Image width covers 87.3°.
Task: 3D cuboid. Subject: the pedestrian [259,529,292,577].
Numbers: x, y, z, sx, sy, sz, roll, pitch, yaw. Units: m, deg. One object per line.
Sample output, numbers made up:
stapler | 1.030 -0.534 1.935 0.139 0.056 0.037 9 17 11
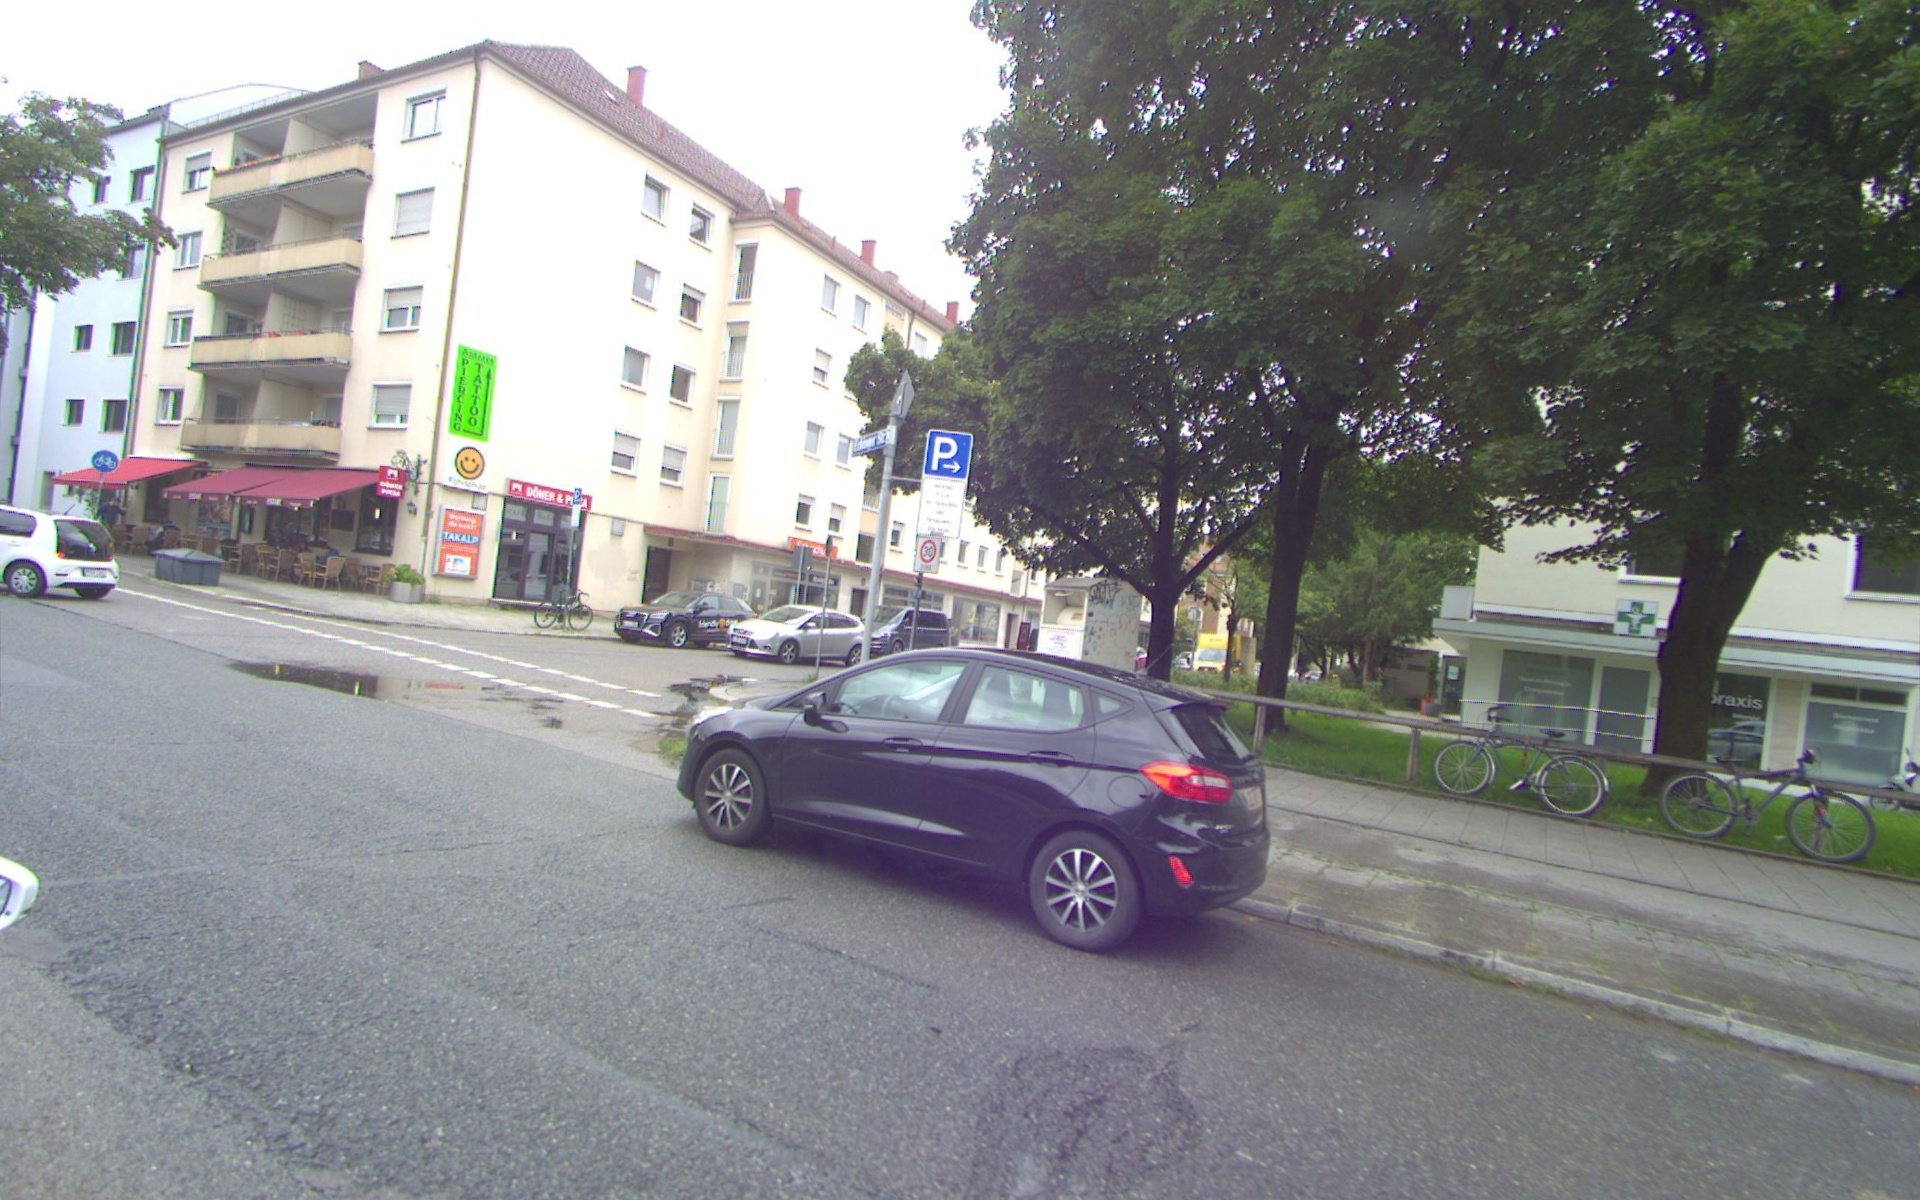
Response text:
pedestrian | -20.891 -1.431 30.712 0.543 1.355 0.539 7 0 30

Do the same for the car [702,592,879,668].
car | -4.227 0.809 25.667 1.968 1.459 4.213 7 -2 34

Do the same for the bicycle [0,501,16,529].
bicycle | -39.584 -3.529 41.308 2.159 1.061 0.621 7 3 32

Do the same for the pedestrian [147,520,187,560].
pedestrian | -26.087 -1.963 33.087 0.636 1.177 0.745 7 0 31

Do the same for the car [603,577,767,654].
car | -7.033 0.442 26.125 1.701 1.537 3.933 7 -1 30

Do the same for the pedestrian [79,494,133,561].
pedestrian | -26.869 -2.277 31.659 0.747 1.952 0.871 7 0 15

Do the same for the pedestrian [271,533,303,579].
pedestrian | -19.993 -1.308 29.888 0.478 1.283 0.539 7 0 30

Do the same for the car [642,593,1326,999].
car | 0.052 0.979 6.379 3.890 1.494 1.647 7 -1 31

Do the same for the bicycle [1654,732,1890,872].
bicycle | 8.224 2.021 10.284 1.738 1.067 0.470 6 -2 31

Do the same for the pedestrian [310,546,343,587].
pedestrian | -17.940 -0.945 28.487 0.479 1.066 0.539 7 0 31

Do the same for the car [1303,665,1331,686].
car | 32.075 6.800 90.371 1.573 1.638 3.764 7 -1 30

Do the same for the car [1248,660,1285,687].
car | 21.928 5.241 71.953 1.573 1.638 3.764 7 -1 30

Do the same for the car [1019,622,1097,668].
car | 4.839 2.222 49.112 2.117 1.806 4.999 7 -1 24

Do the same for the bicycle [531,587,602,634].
bicycle | -9.911 0.272 25.358 0.545 1.023 1.541 7 -1 34

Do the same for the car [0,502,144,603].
car | -16.595 -0.936 17.364 3.375 1.507 1.691 8 -1 -6

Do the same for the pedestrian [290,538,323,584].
pedestrian | -19.085 -1.139 29.390 0.479 1.229 0.539 7 0 31

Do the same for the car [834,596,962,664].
car | -2.113 1.134 35.920 1.966 1.907 4.994 7 -1 30

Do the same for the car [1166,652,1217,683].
car | 16.359 4.802 70.949 1.966 1.806 4.994 7 -1 30

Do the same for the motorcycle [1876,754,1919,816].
motorcycle | 19.569 3.801 20.157 1.595 1.133 0.605 7 0 32

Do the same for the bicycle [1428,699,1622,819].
bicycle | 6.453 1.789 11.557 1.822 1.027 0.448 7 0 32

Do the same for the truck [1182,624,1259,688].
truck | 13.376 2.941 51.267 2.236 2.803 6.765 7 -1 26
